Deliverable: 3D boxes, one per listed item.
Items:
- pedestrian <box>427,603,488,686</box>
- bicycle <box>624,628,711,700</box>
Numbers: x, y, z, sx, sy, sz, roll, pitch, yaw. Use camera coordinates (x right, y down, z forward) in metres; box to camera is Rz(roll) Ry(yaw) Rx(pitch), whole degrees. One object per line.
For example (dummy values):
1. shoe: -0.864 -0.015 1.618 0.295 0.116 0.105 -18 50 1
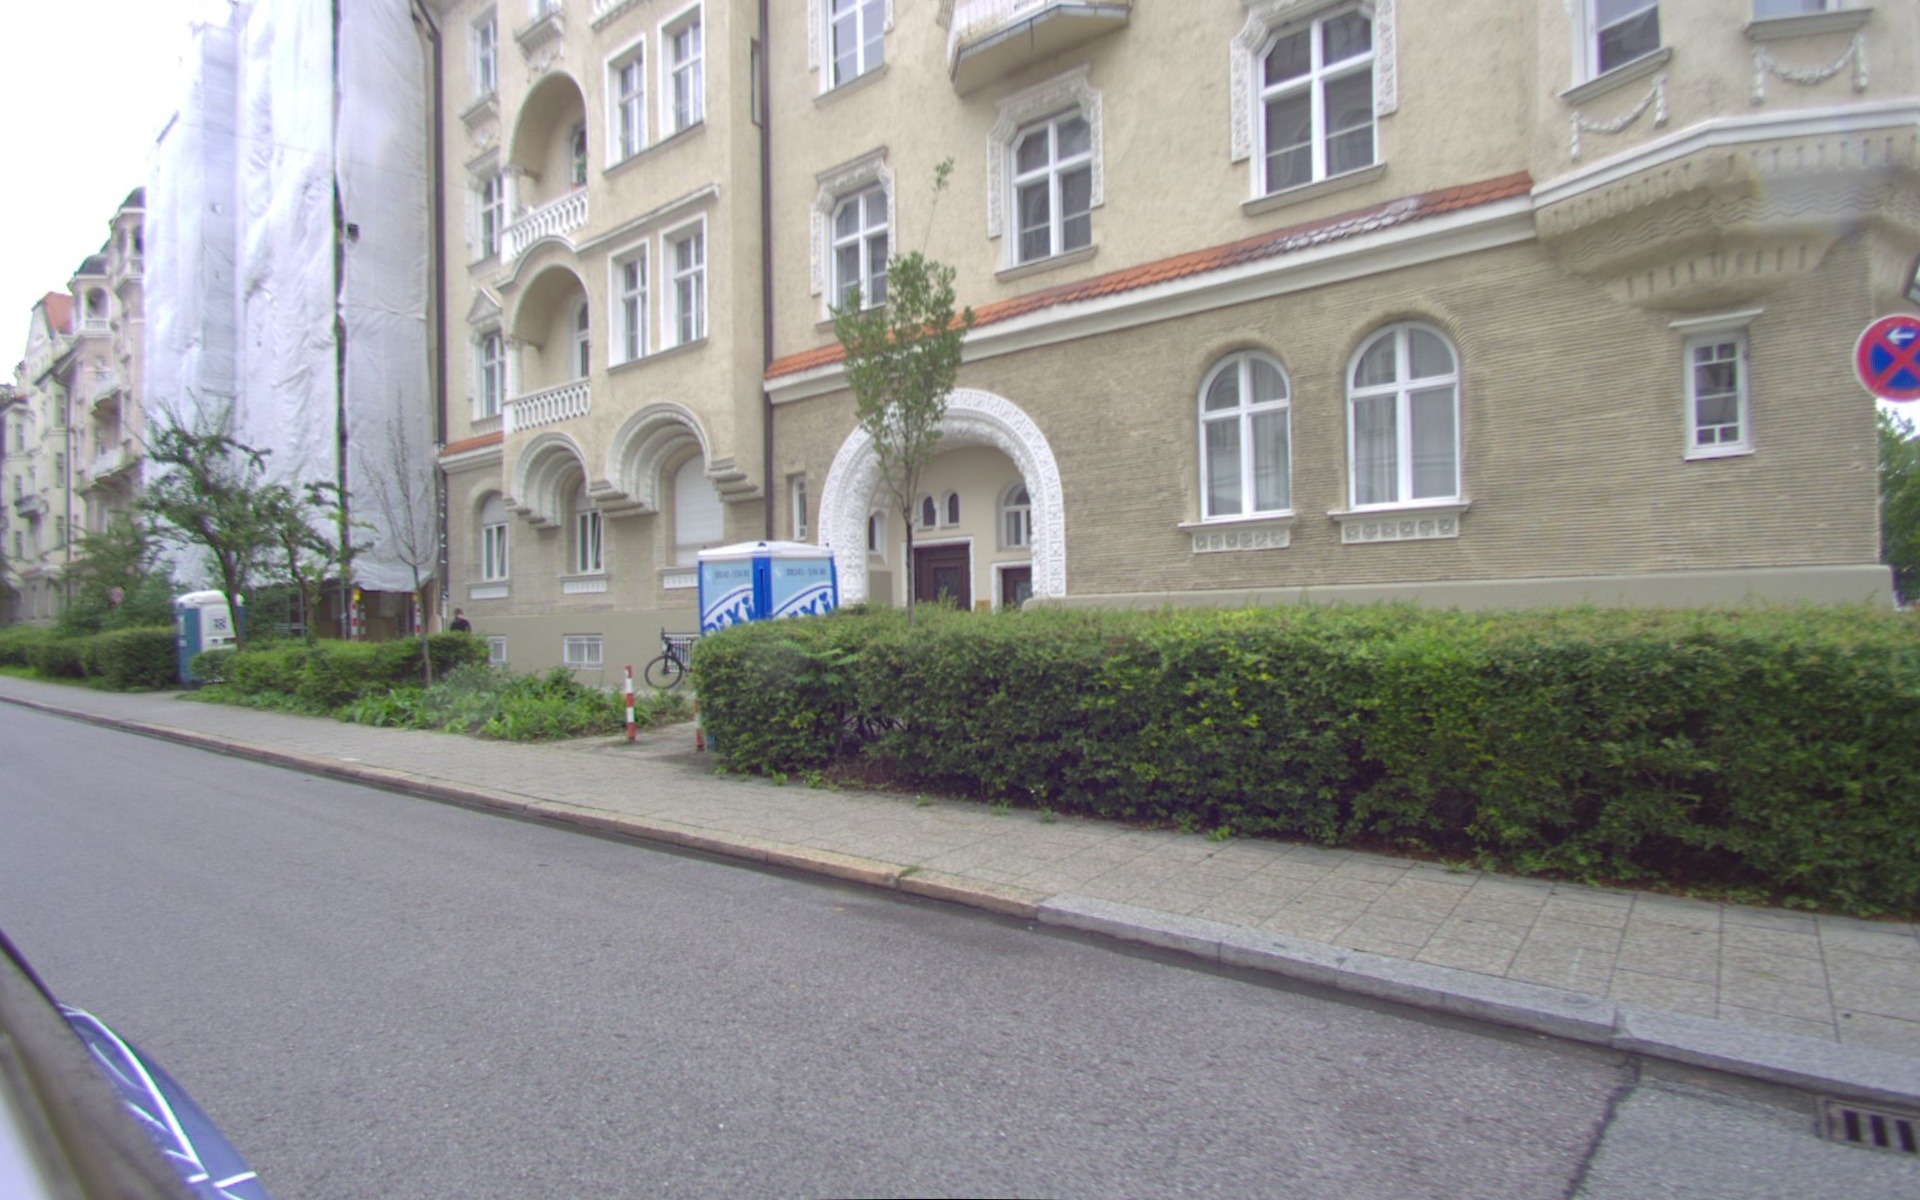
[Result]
1. pedestrian: -11.027 0.974 22.213 0.947 1.765 0.905 -2 -2 39
2. bicycle: -5.513 1.189 19.018 1.702 1.285 0.737 -2 -2 40
